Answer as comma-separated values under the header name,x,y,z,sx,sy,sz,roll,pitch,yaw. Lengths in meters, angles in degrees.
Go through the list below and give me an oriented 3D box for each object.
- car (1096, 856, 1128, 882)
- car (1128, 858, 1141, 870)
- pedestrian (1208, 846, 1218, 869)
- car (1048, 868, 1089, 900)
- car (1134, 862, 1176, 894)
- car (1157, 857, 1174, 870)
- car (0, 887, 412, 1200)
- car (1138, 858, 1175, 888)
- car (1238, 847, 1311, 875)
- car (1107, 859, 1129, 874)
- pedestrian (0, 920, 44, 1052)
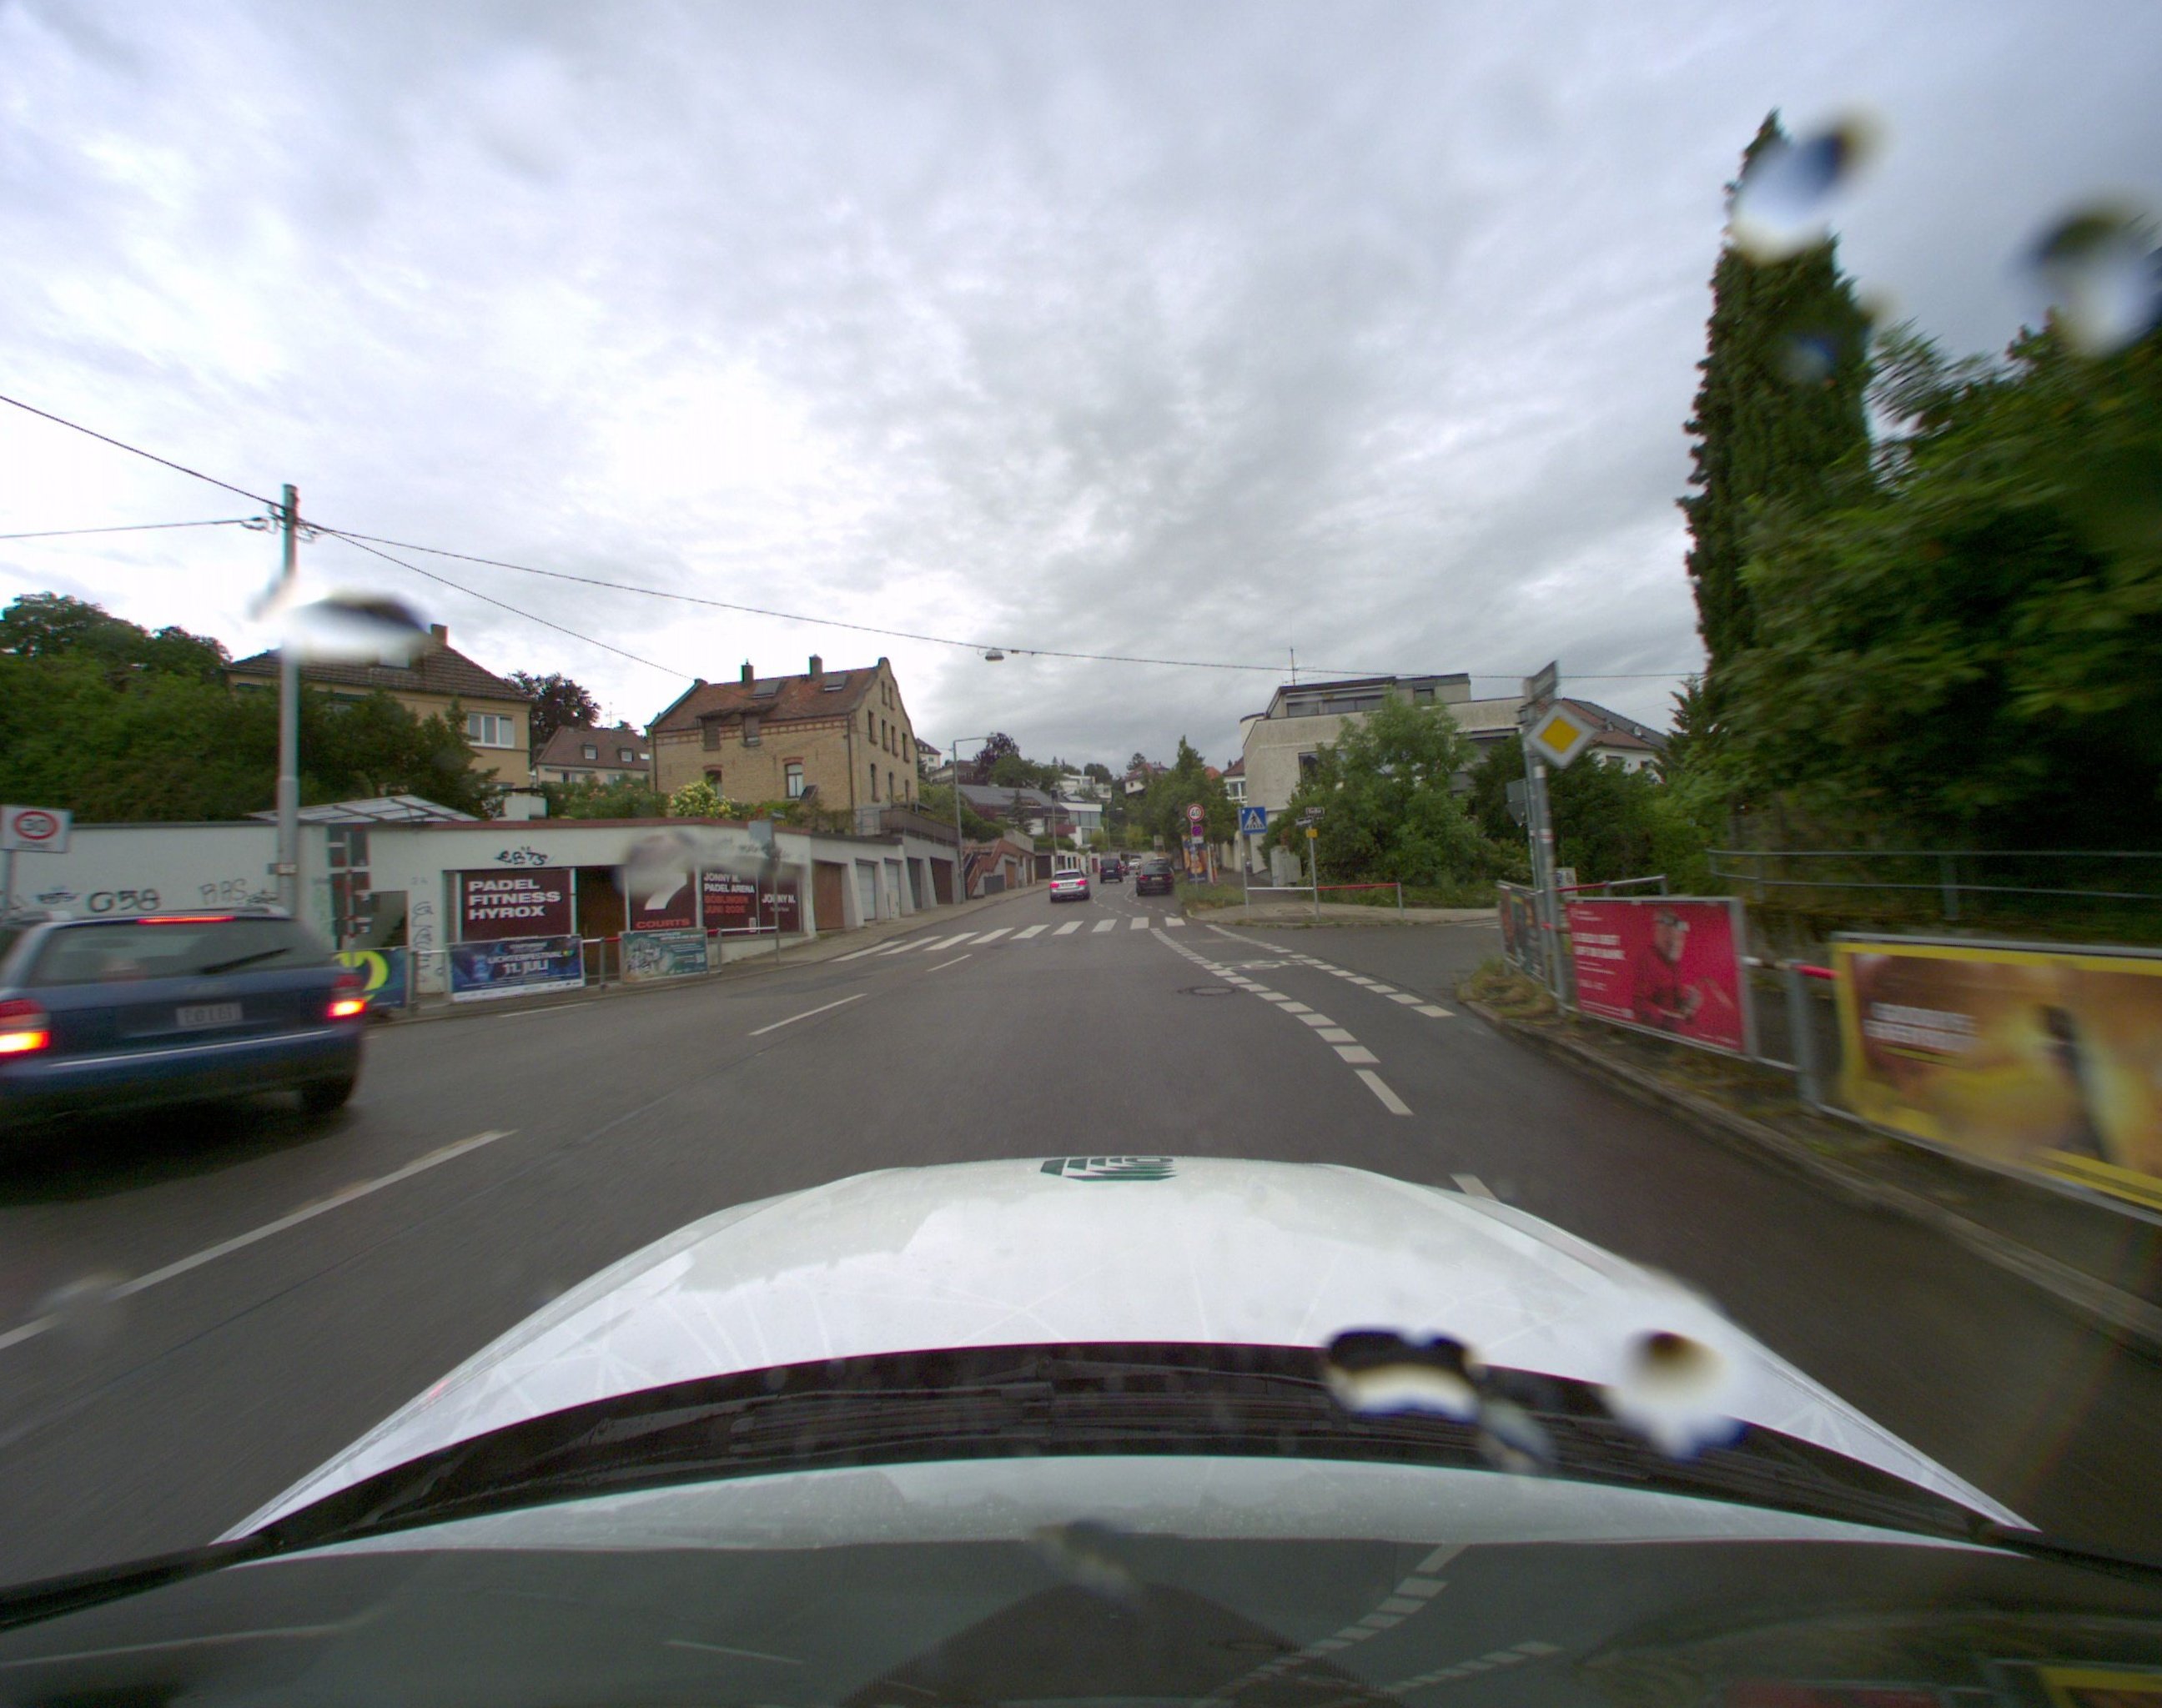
name,x,y,z,sx,sy,sz,roll,pitch,yaw
car,2.411,1.105,62.478,1.813,1.819,4.010,-3,-1,9
car,7.736,1.452,118.150,1.720,1.606,3.552,-3,-1,4
pedestrian,10.810,0.282,66.715,0.636,1.795,0.745,-3,-1,2
car,-0.632,1.389,38.255,1.807,1.361,3.996,-1,-1,-2
car,3.563,1.157,39.972,1.764,1.377,4.350,-3,-1,2
car,8.877,0.940,85.598,1.460,1.254,3.591,-3,-1,9
car,-6.604,1.058,5.725,4.028,1.439,1.829,-3,0,34
car,4.139,1.027,45.063,1.709,1.450,3.834,-3,-1,1
car,11.488,0.413,48.353,3.954,1.415,1.734,-3,-1,20
car,3.714,1.210,80.721,1.815,1.296,4.007,-3,-1,6
pedestrian,-14.451,1.773,10.935,0.618,1.689,0.588,-6,-2,40
